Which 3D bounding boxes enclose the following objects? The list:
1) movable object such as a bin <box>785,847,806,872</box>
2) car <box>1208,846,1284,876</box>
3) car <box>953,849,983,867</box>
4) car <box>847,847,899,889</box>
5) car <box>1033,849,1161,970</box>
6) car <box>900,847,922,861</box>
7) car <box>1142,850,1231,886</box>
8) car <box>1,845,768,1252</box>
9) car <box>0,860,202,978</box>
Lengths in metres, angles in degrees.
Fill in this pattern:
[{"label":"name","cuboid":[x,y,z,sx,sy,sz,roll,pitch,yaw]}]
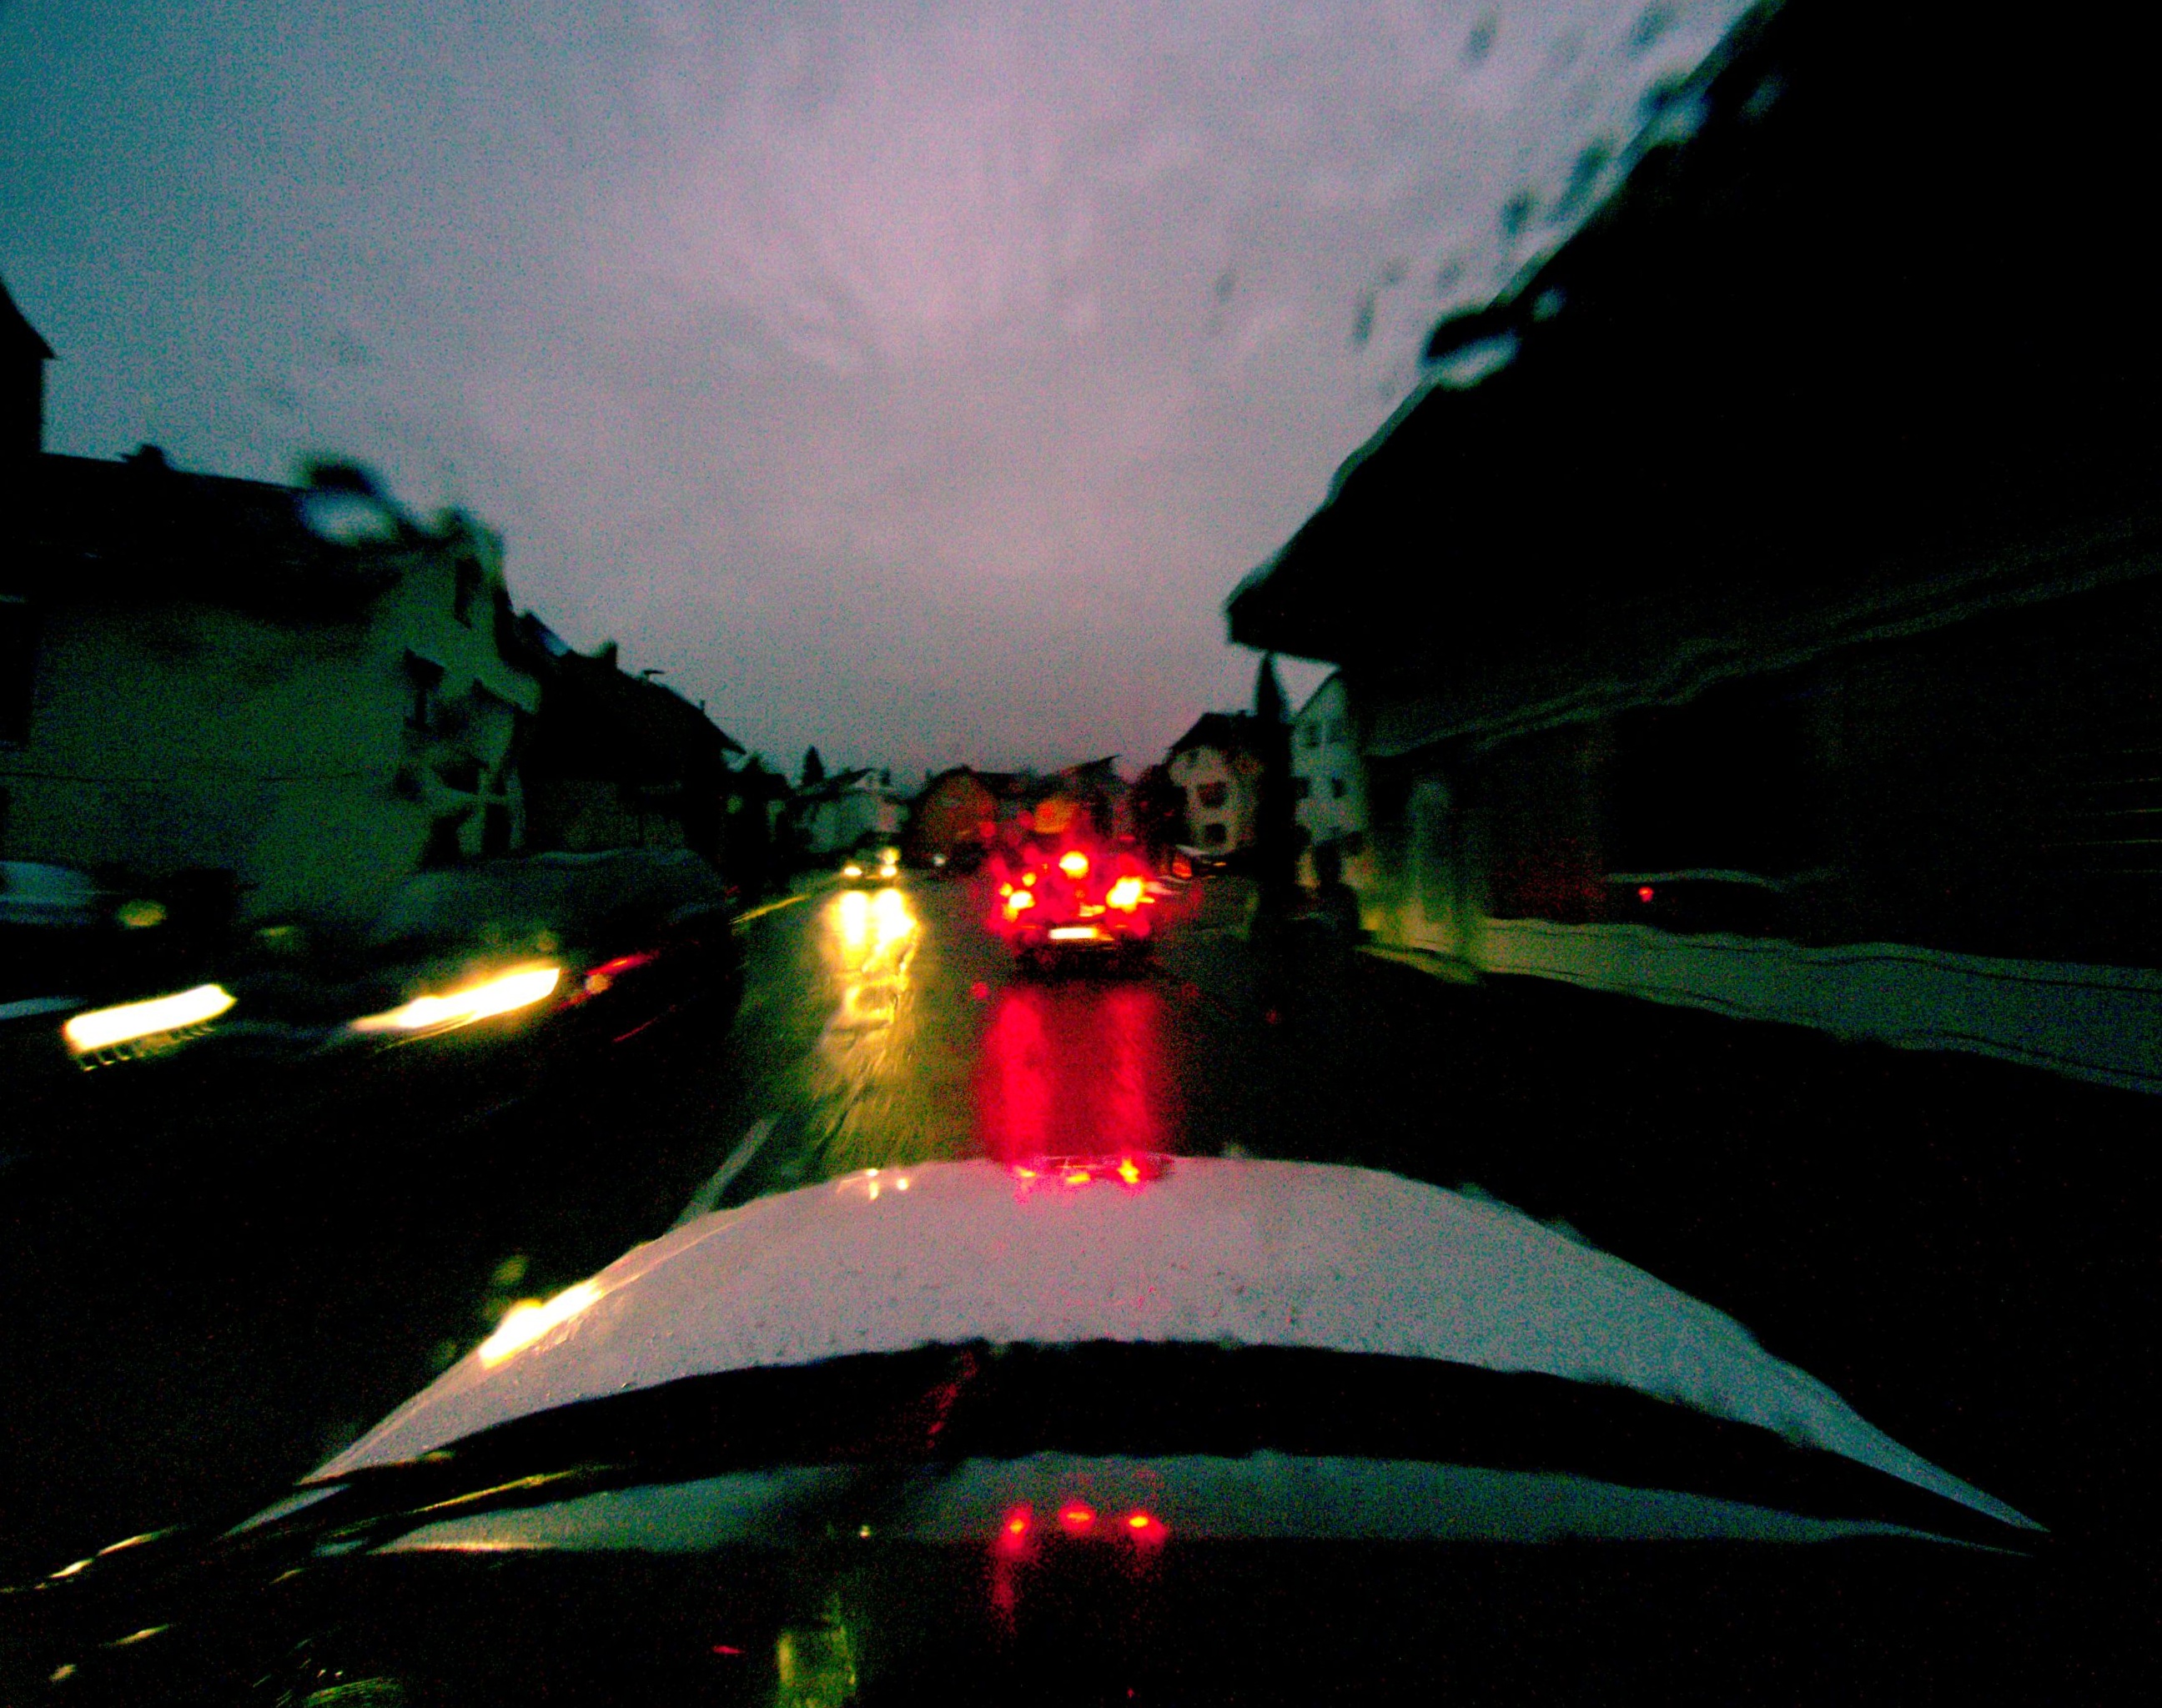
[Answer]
[{"label":"movable object such as a bin","cuboid":[-17.784,0.343,50.785,1.097,1.543,1.283,0,0,-12]},{"label":"car","cuboid":[9.256,0.411,45.886,1.823,1.566,3.956,-3,1,-36]},{"label":"car","cuboid":[-10.796,0.321,77.723,2.000,1.644,3.973,0,1,-20]},{"label":"car","cuboid":[-8.819,0.547,34.778,1.913,1.653,3.984,0,1,-12]},{"label":"car","cuboid":[0.330,0.668,11.685,1.539,1.466,3.703,0,0,4]},{"label":"car","cuboid":[-19.918,-0.014,95.562,2.000,1.644,3.973,0,1,-20]},{"label":"car","cuboid":[5.266,0.699,41.160,1.823,1.628,4.501,-3,1,-36]},{"label":"car","cuboid":[-3.754,0.764,5.724,1.876,1.612,4.589,-1,1,-8]},{"label":"car","cuboid":[-14.827,0.821,10.731,3.999,1.462,1.809,0,0,-19]}]
